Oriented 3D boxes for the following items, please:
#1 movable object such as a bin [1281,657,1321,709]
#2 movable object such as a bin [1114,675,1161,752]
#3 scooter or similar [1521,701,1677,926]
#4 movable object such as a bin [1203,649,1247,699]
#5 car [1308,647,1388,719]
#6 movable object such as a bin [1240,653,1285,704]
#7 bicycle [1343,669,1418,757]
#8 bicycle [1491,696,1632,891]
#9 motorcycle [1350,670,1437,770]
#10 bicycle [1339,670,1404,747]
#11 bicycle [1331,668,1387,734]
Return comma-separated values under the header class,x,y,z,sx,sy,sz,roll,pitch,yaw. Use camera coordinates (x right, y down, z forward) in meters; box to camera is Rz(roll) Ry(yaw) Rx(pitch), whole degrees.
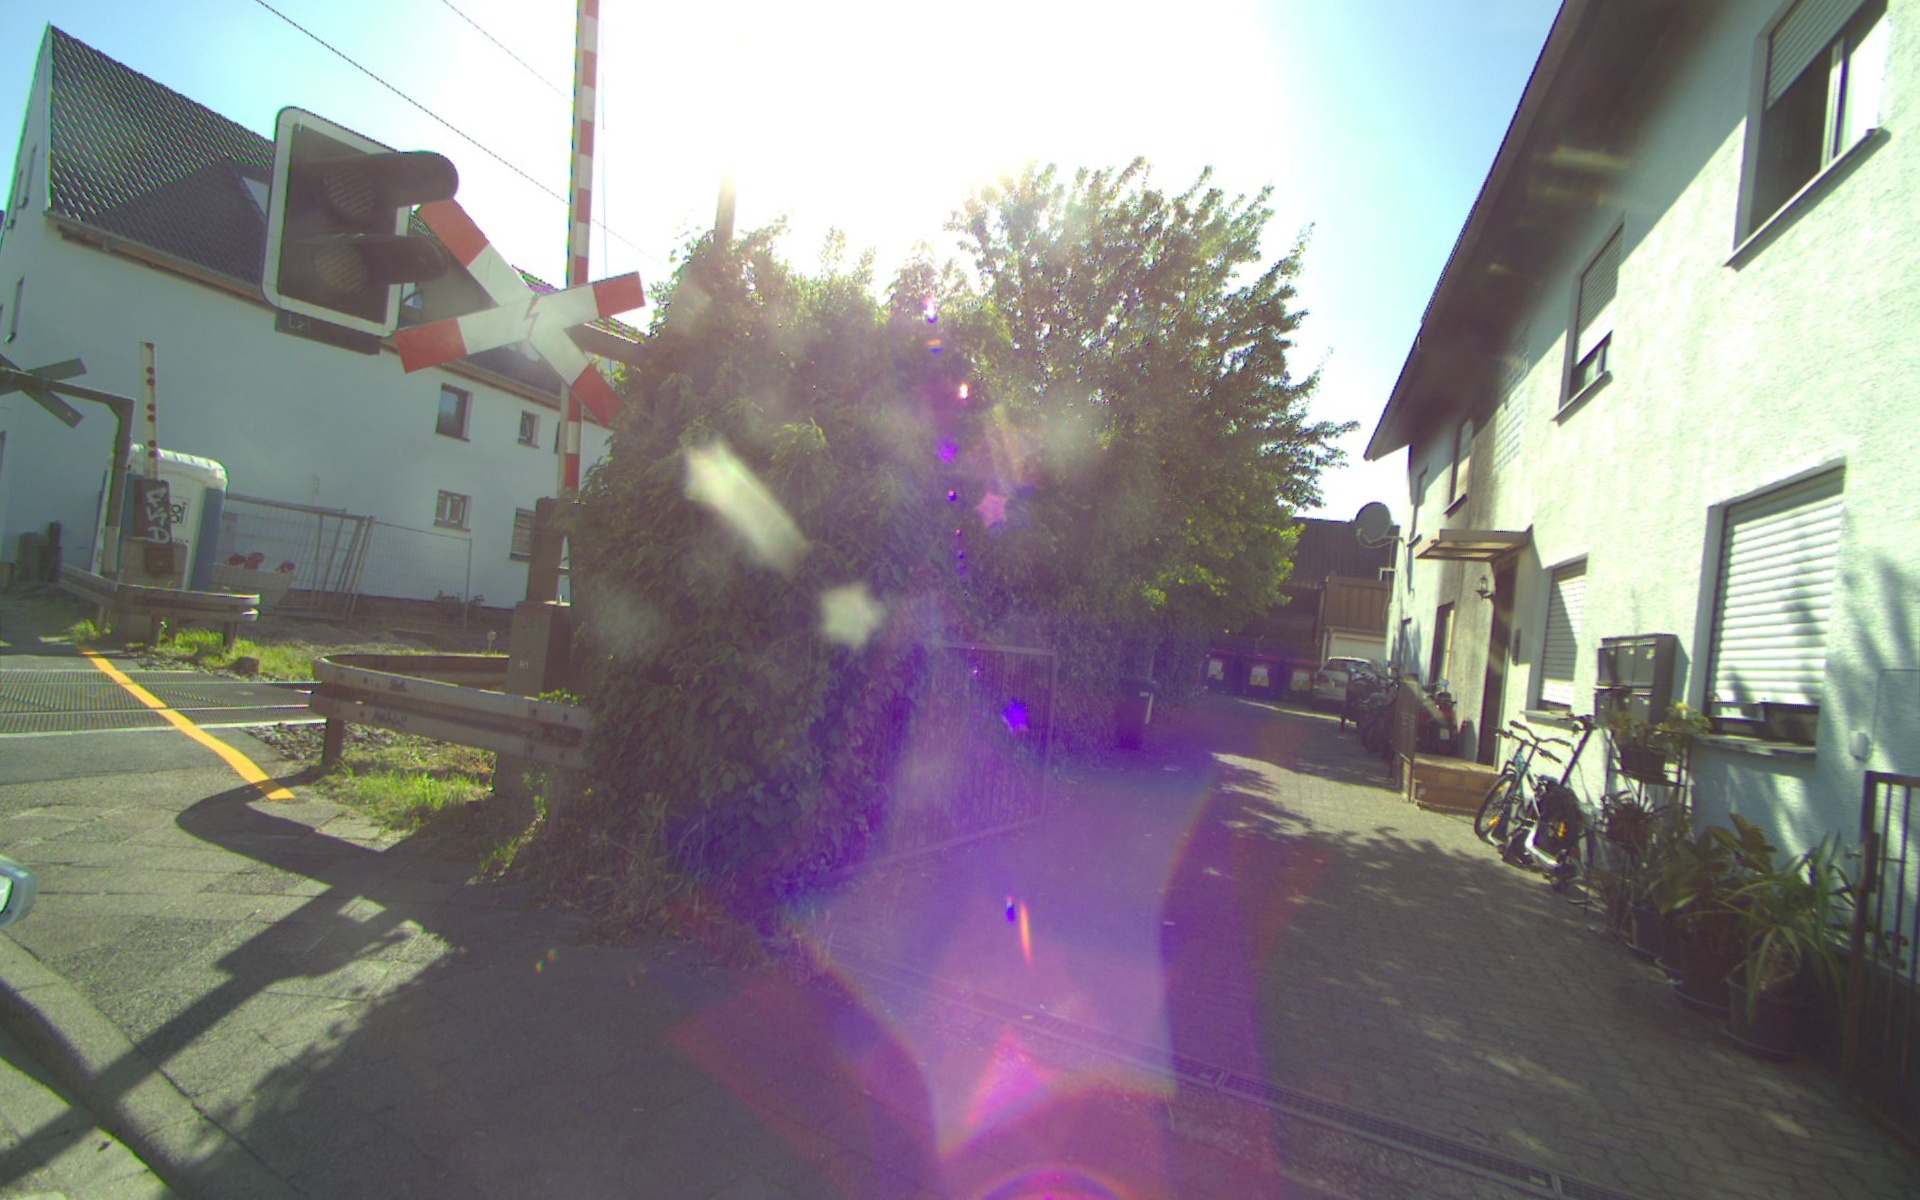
class,x,y,z,sx,sy,sz,roll,pitch,yaw
movable object such as a bin,10.437,2.530,30.798,0.983,1.448,0.698,6,0,23
movable object such as a bin,2.293,1.451,12.967,0.437,0.914,0.422,6,0,23
scooter or similar,4.206,1.341,6.712,0.448,1.234,1.403,6,-1,19
movable object such as a bin,8.332,2.322,31.658,1.121,1.448,0.708,6,0,23
car,10.997,2.304,28.443,1.819,1.704,3.786,6,-1,23
movable object such as a bin,9.391,2.426,31.212,1.121,1.448,0.708,6,0,23
bicycle,7.038,1.845,16.968,0.849,1.234,2.683,6,-1,19
bicycle,4.607,1.416,7.808,0.478,1.234,1.716,6,-1,19
motorcycle,6.404,1.711,14.988,0.849,1.234,2.683,6,-1,19
bicycle,7.793,2.014,19.154,0.849,1.234,2.683,6,-1,19
bicycle,8.601,2.137,21.788,0.849,1.234,2.683,6,-1,19
